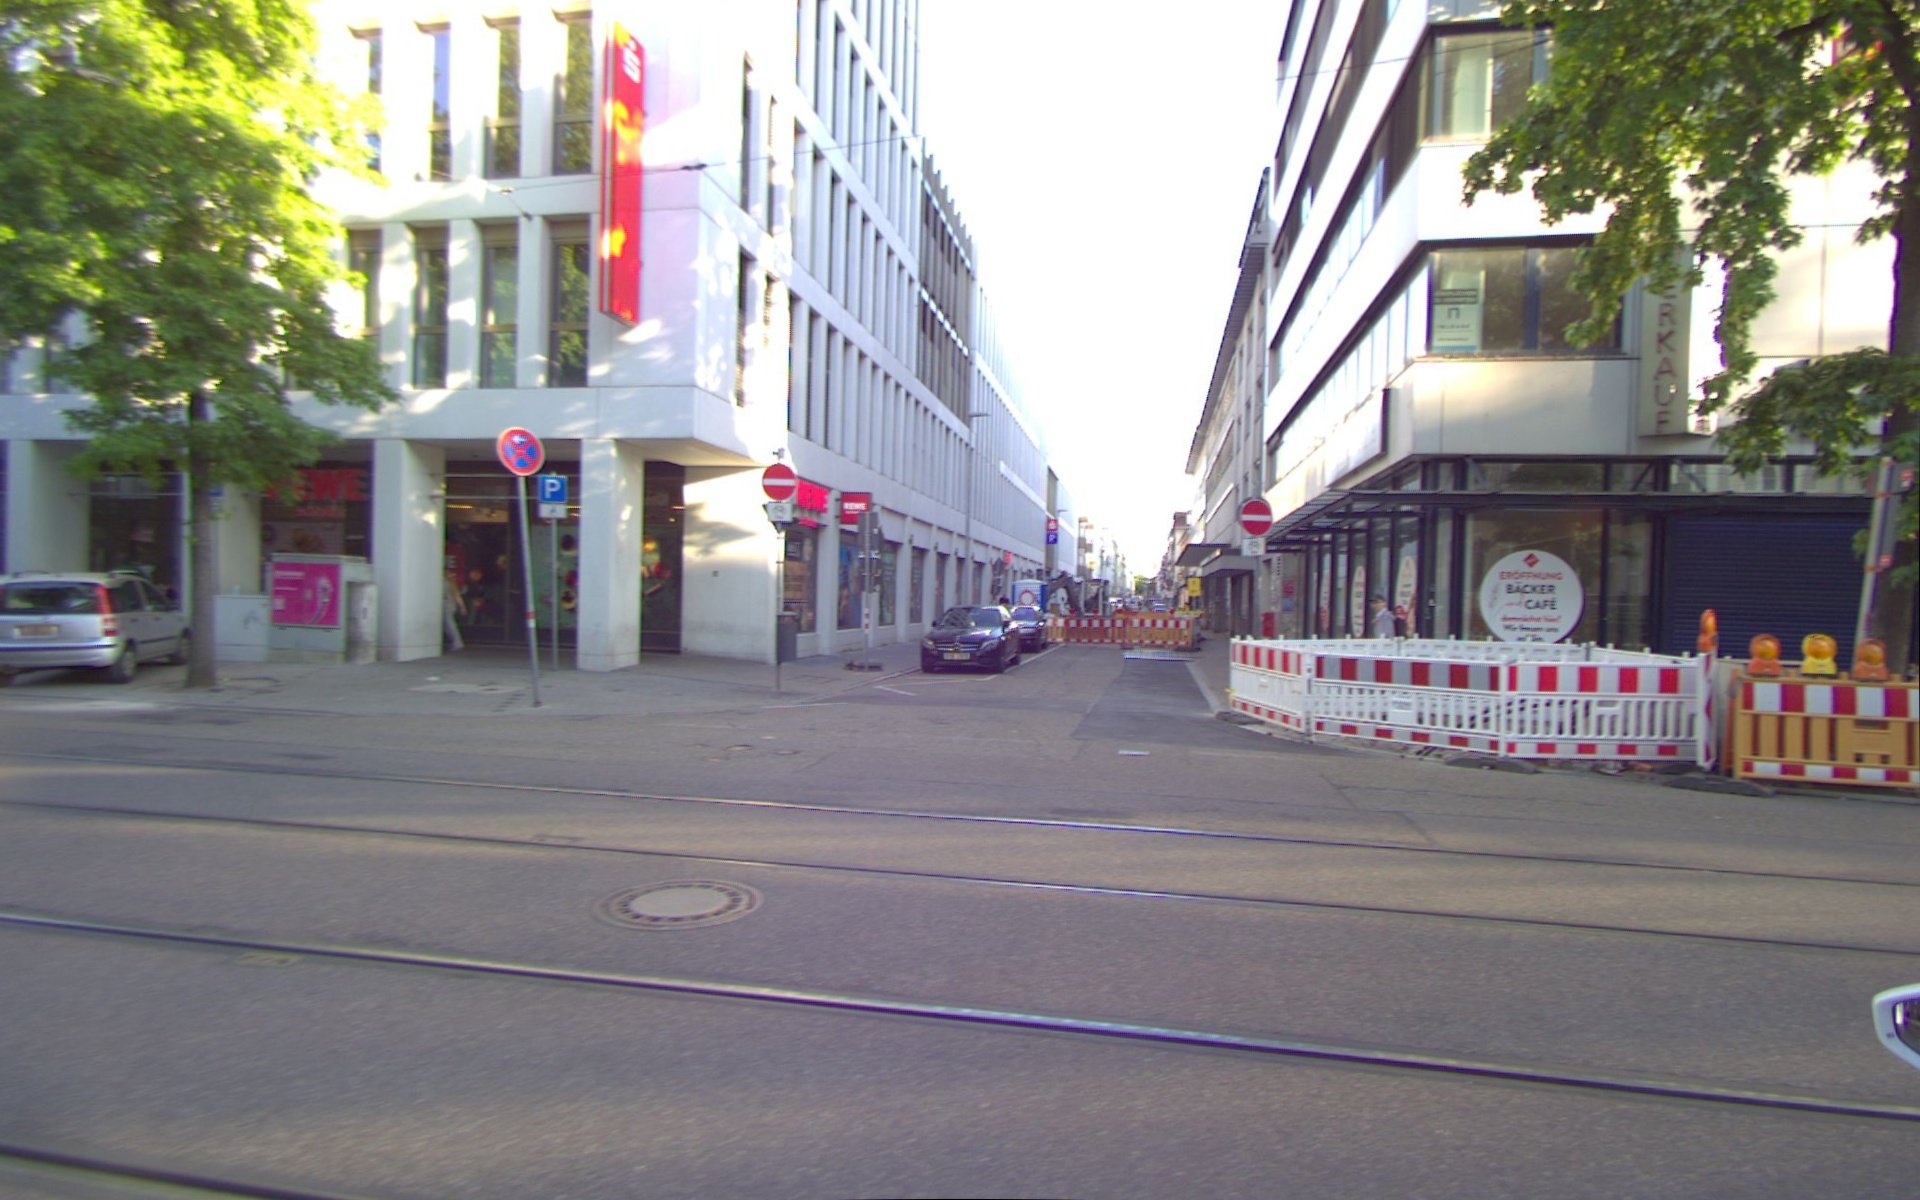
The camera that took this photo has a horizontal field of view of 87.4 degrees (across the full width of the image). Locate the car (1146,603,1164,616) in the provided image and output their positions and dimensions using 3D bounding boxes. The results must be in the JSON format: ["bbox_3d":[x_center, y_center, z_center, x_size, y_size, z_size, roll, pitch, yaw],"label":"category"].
[{"bbox_3d":[23.493,1.193,121.066,1.863,1.478,4.002,2,0,9],"label":"car"}]

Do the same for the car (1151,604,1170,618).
[{"bbox_3d":[22.357,1.250,112.087,1.863,1.478,4.002,2,0,9],"label":"car"}]

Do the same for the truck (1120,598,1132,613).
[{"bbox_3d":[27.847,0.908,168.154,1.863,2.421,5.321,2,0,9],"label":"truck"}]

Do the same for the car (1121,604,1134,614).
[{"bbox_3d":[26.314,1.442,158.069,1.863,1.478,4.002,2,0,9],"label":"car"}]

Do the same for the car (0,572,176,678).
[{"bbox_3d":[-15.404,0.327,16.826,1.549,1.431,4.312,2,3,-7],"label":"car"}]

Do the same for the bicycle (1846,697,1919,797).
[{"bbox_3d":[9.460,1.427,9.501,1.504,0.848,0.503,3,3,17],"label":"bicycle"}]

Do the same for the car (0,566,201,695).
[{"bbox_3d":[-12.862,0.368,15.053,1.766,1.581,3.377,1,3,-27],"label":"car"}]

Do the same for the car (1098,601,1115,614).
[{"bbox_3d":[17.591,0.911,120.383,1.863,1.478,4.002,2,0,9],"label":"car"}]

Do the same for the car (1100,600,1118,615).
[{"bbox_3d":[16.032,0.805,108.140,1.863,1.478,4.002,2,0,9],"label":"car"}]

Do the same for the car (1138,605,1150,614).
[{"bbox_3d":[29.989,1.577,163.740,1.863,1.478,4.002,2,0,9],"label":"car"}]

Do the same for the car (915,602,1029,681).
[{"bbox_3d":[0.367,0.866,22.463,1.803,1.562,4.002,1,0,12],"label":"car"}]

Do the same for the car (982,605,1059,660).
[{"bbox_3d":[1.946,0.956,31.333,1.803,1.562,4.002,1,0,12],"label":"car"}]

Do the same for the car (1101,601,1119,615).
[{"bbox_3d":[17.026,0.863,113.994,1.863,1.478,4.002,2,0,9],"label":"car"}]

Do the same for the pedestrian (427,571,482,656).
[{"bbox_3d":[-9.930,0.262,19.748,0.702,1.621,0.659,2,0,29],"label":"pedestrian"}]

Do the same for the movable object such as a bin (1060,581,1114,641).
[{"bbox_3d":[5.920,0.498,46.253,2.150,2.569,5.327,2,0,10],"label":"movable object such as a bin"}]

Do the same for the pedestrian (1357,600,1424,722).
[{"bbox_3d":[6.081,0.843,14.218,0.711,1.668,0.612,2,0,10],"label":"pedestrian"}]
